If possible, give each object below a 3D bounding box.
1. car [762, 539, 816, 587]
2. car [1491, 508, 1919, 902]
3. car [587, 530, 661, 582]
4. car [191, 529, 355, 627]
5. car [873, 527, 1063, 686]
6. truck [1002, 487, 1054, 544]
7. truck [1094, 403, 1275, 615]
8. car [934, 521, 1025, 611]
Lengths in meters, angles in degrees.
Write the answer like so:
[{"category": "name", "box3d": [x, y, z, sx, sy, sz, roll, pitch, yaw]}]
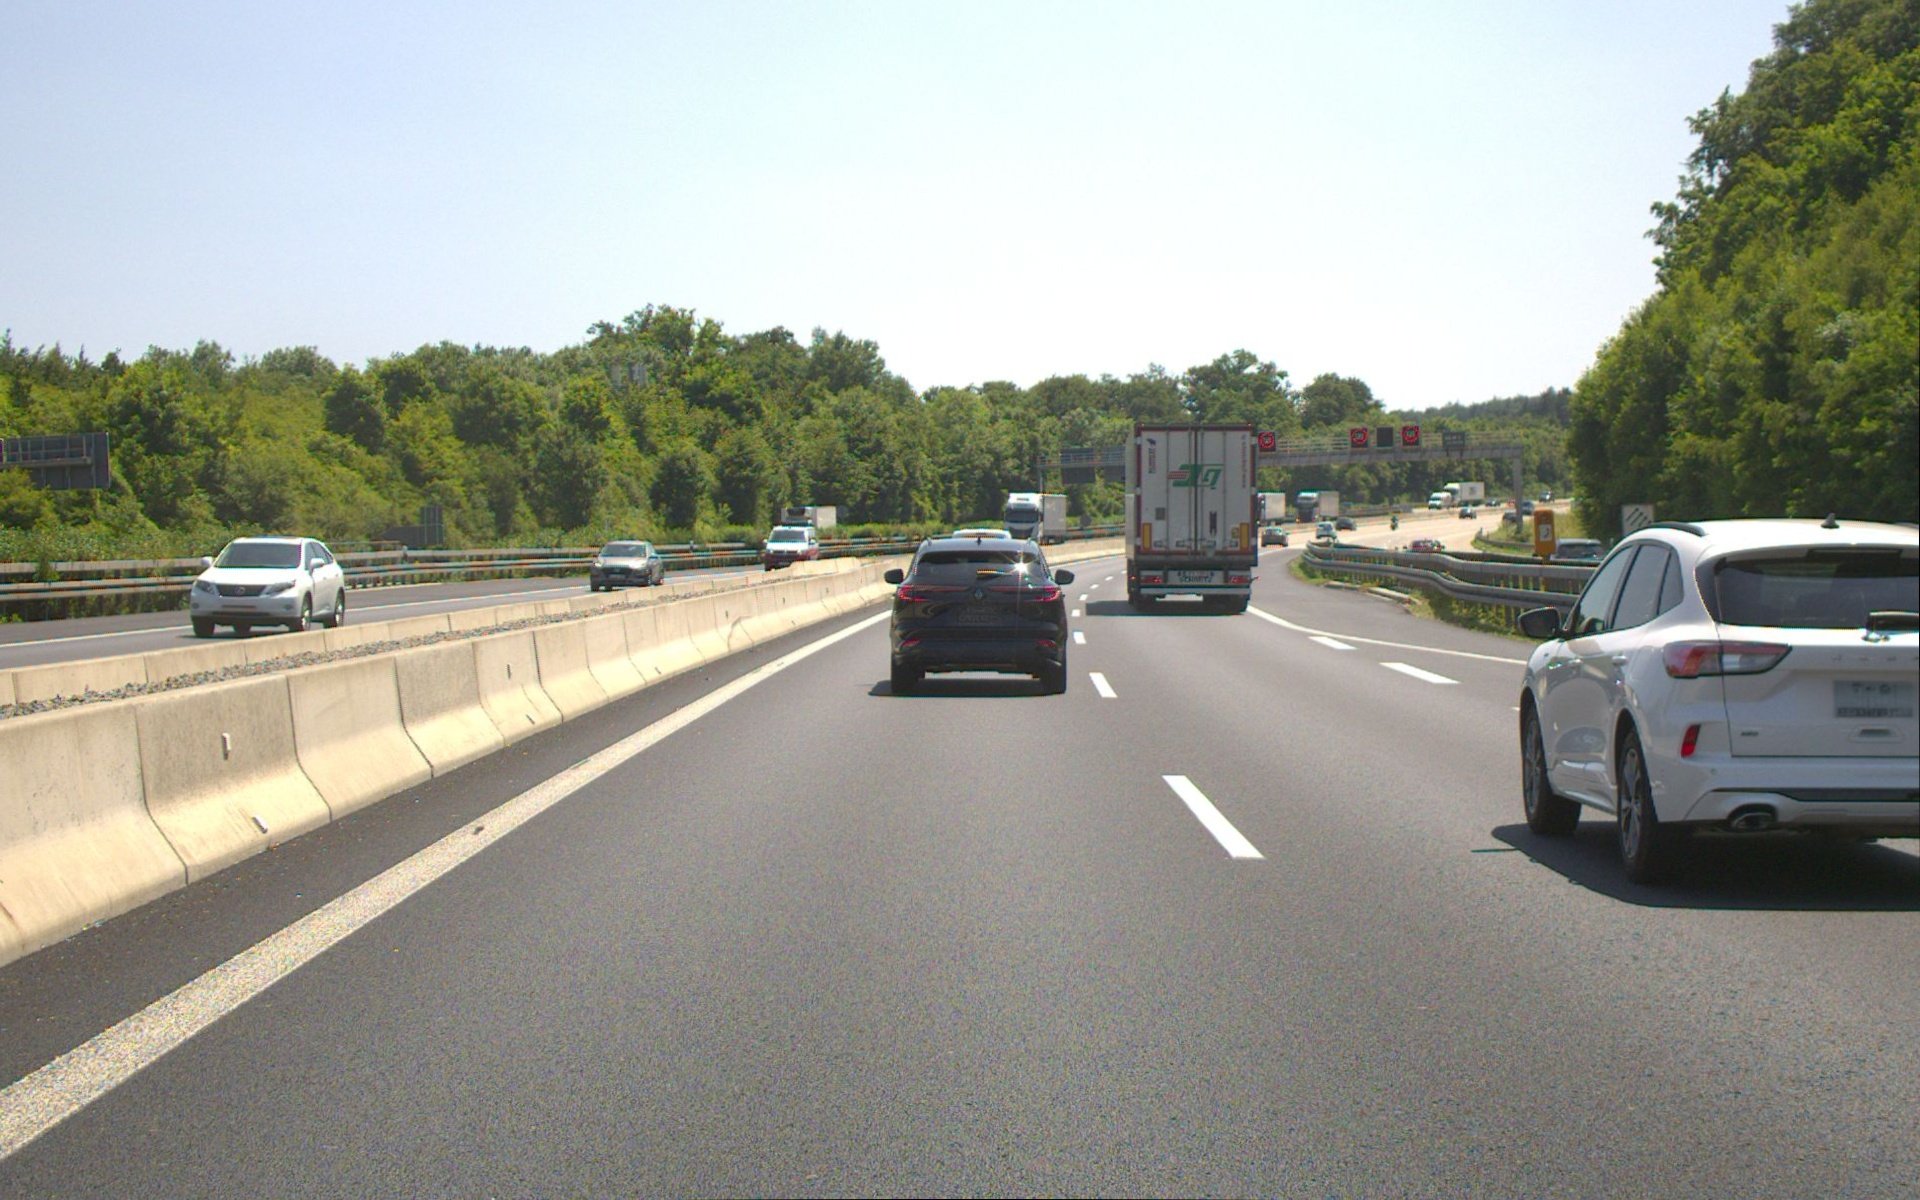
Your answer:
[{"category": "car", "box3d": [-7.340, -1.581, 147.967, 1.993, 2.007, 5.380, 0, 0, 0]}, {"category": "car", "box3d": [3.921, 0.423, 16.687, 1.993, 1.656, 4.468, 0, 0, 0]}, {"category": "car", "box3d": [-10.225, -1.364, 104.832, 1.728, 1.527, 4.261, 1, 1, 1]}, {"category": "car", "box3d": [-11.834, -0.409, 59.499, 1.787, 1.626, 4.930, 0, 1, 1]}, {"category": "car", "box3d": [0.031, 0.052, 36.425, 1.779, 1.572, 4.000, 1, 0, -3]}, {"category": "truck", "box3d": [4.945, -6.068, 248.525, 2.698, 3.946, 10.774, 0, 0, 7]}, {"category": "truck", "box3d": [4.915, -1.944, 77.588, 3.032, 4.403, 12.019, 0, 0, -1]}, {"category": "car", "box3d": [0.498, -0.851, 82.861, 1.993, 2.007, 4.000, -3, 1, 2]}]
